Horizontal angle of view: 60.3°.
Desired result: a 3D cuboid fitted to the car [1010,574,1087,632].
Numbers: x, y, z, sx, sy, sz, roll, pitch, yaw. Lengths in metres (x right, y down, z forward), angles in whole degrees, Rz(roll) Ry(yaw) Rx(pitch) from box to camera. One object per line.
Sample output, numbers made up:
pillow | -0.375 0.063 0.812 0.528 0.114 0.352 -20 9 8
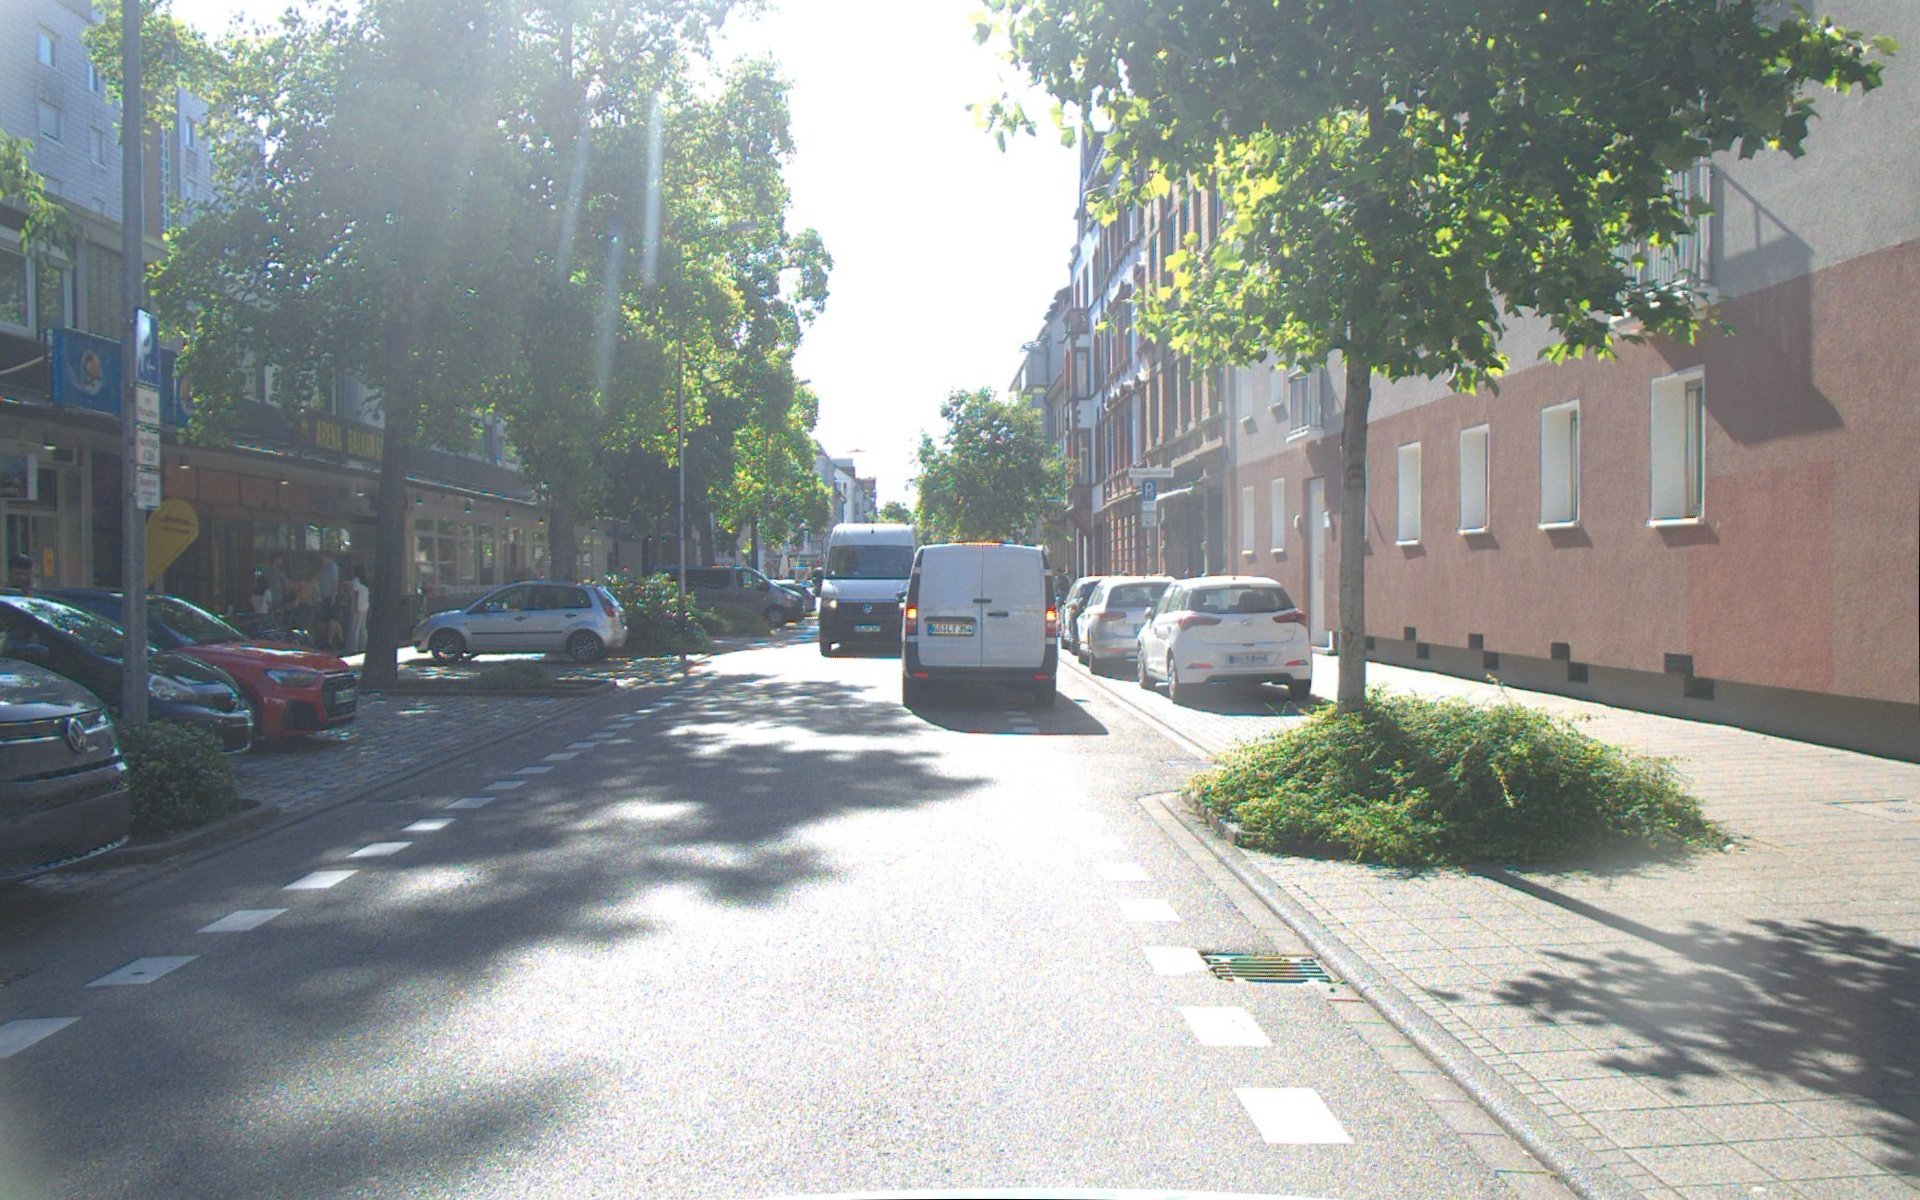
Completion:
car | 2.352 0.053 44.844 1.703 1.477 3.998 -1 1 -2

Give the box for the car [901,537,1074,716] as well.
car | 0.219 0.249 20.662 1.882 1.947 4.886 1 1 -2

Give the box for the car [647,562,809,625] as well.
car | -7.729 -0.239 55.510 5.186 2.008 2.015 1 1 -2

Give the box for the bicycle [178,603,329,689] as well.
bicycle | -9.861 0.637 23.115 1.829 1.126 0.587 1 0 1

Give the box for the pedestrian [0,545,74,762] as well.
pedestrian | -7.808 0.422 13.652 0.568 1.742 0.634 -1 1 26

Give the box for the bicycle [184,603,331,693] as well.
bicycle | -9.400 0.636 22.166 1.683 1.136 0.623 1 1 1

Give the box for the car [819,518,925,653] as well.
car | -1.741 -0.334 34.561 1.953 2.517 6.603 -1 1 -1

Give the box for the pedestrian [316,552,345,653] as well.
pedestrian | -12.371 0.044 32.504 0.382 1.967 0.361 -1 1 -1

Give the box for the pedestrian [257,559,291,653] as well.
pedestrian | -13.331 0.109 32.138 0.475 1.813 0.427 -1 1 -5

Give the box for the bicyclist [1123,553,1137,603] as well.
bicyclist | 5.109 -0.663 49.669 0.353 1.502 0.531 0 0 1

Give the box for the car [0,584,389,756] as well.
car | -7.517 0.610 15.361 3.839 1.476 1.709 1 1 -3

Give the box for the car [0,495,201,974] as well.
car | -6.426 0.508 7.642 4.929 1.972 1.872 1 1 -2

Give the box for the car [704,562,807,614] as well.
car | -8.403 -0.504 68.197 3.904 2.048 2.001 1 1 3

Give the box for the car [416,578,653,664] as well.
car | -7.799 0.366 30.598 3.907 1.482 1.859 -1 1 -3

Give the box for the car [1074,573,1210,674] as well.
car | 2.927 0.327 27.389 1.749 1.485 4.517 -2 1 0

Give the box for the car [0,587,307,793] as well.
car | -7.202 0.655 12.874 3.594 1.476 1.611 1 1 -5

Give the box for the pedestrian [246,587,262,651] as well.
pedestrian | -14.088 0.375 32.997 0.208 1.266 0.215 1 0 -1

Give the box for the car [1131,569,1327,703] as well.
car | 3.358 0.394 21.328 1.697 1.512 3.793 -2 1 -3

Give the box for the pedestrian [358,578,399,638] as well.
pedestrian | -13.169 0.180 37.491 0.708 1.354 0.703 1 0 -5

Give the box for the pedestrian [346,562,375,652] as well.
pedestrian | -11.710 0.137 32.314 0.382 1.735 0.502 1 0 -1

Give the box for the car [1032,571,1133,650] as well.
car | 2.464 0.182 33.984 1.674 1.506 3.709 -1 1 -2

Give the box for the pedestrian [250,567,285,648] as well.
pedestrian | -13.034 0.140 31.136 0.459 1.499 0.420 -1 1 -5
